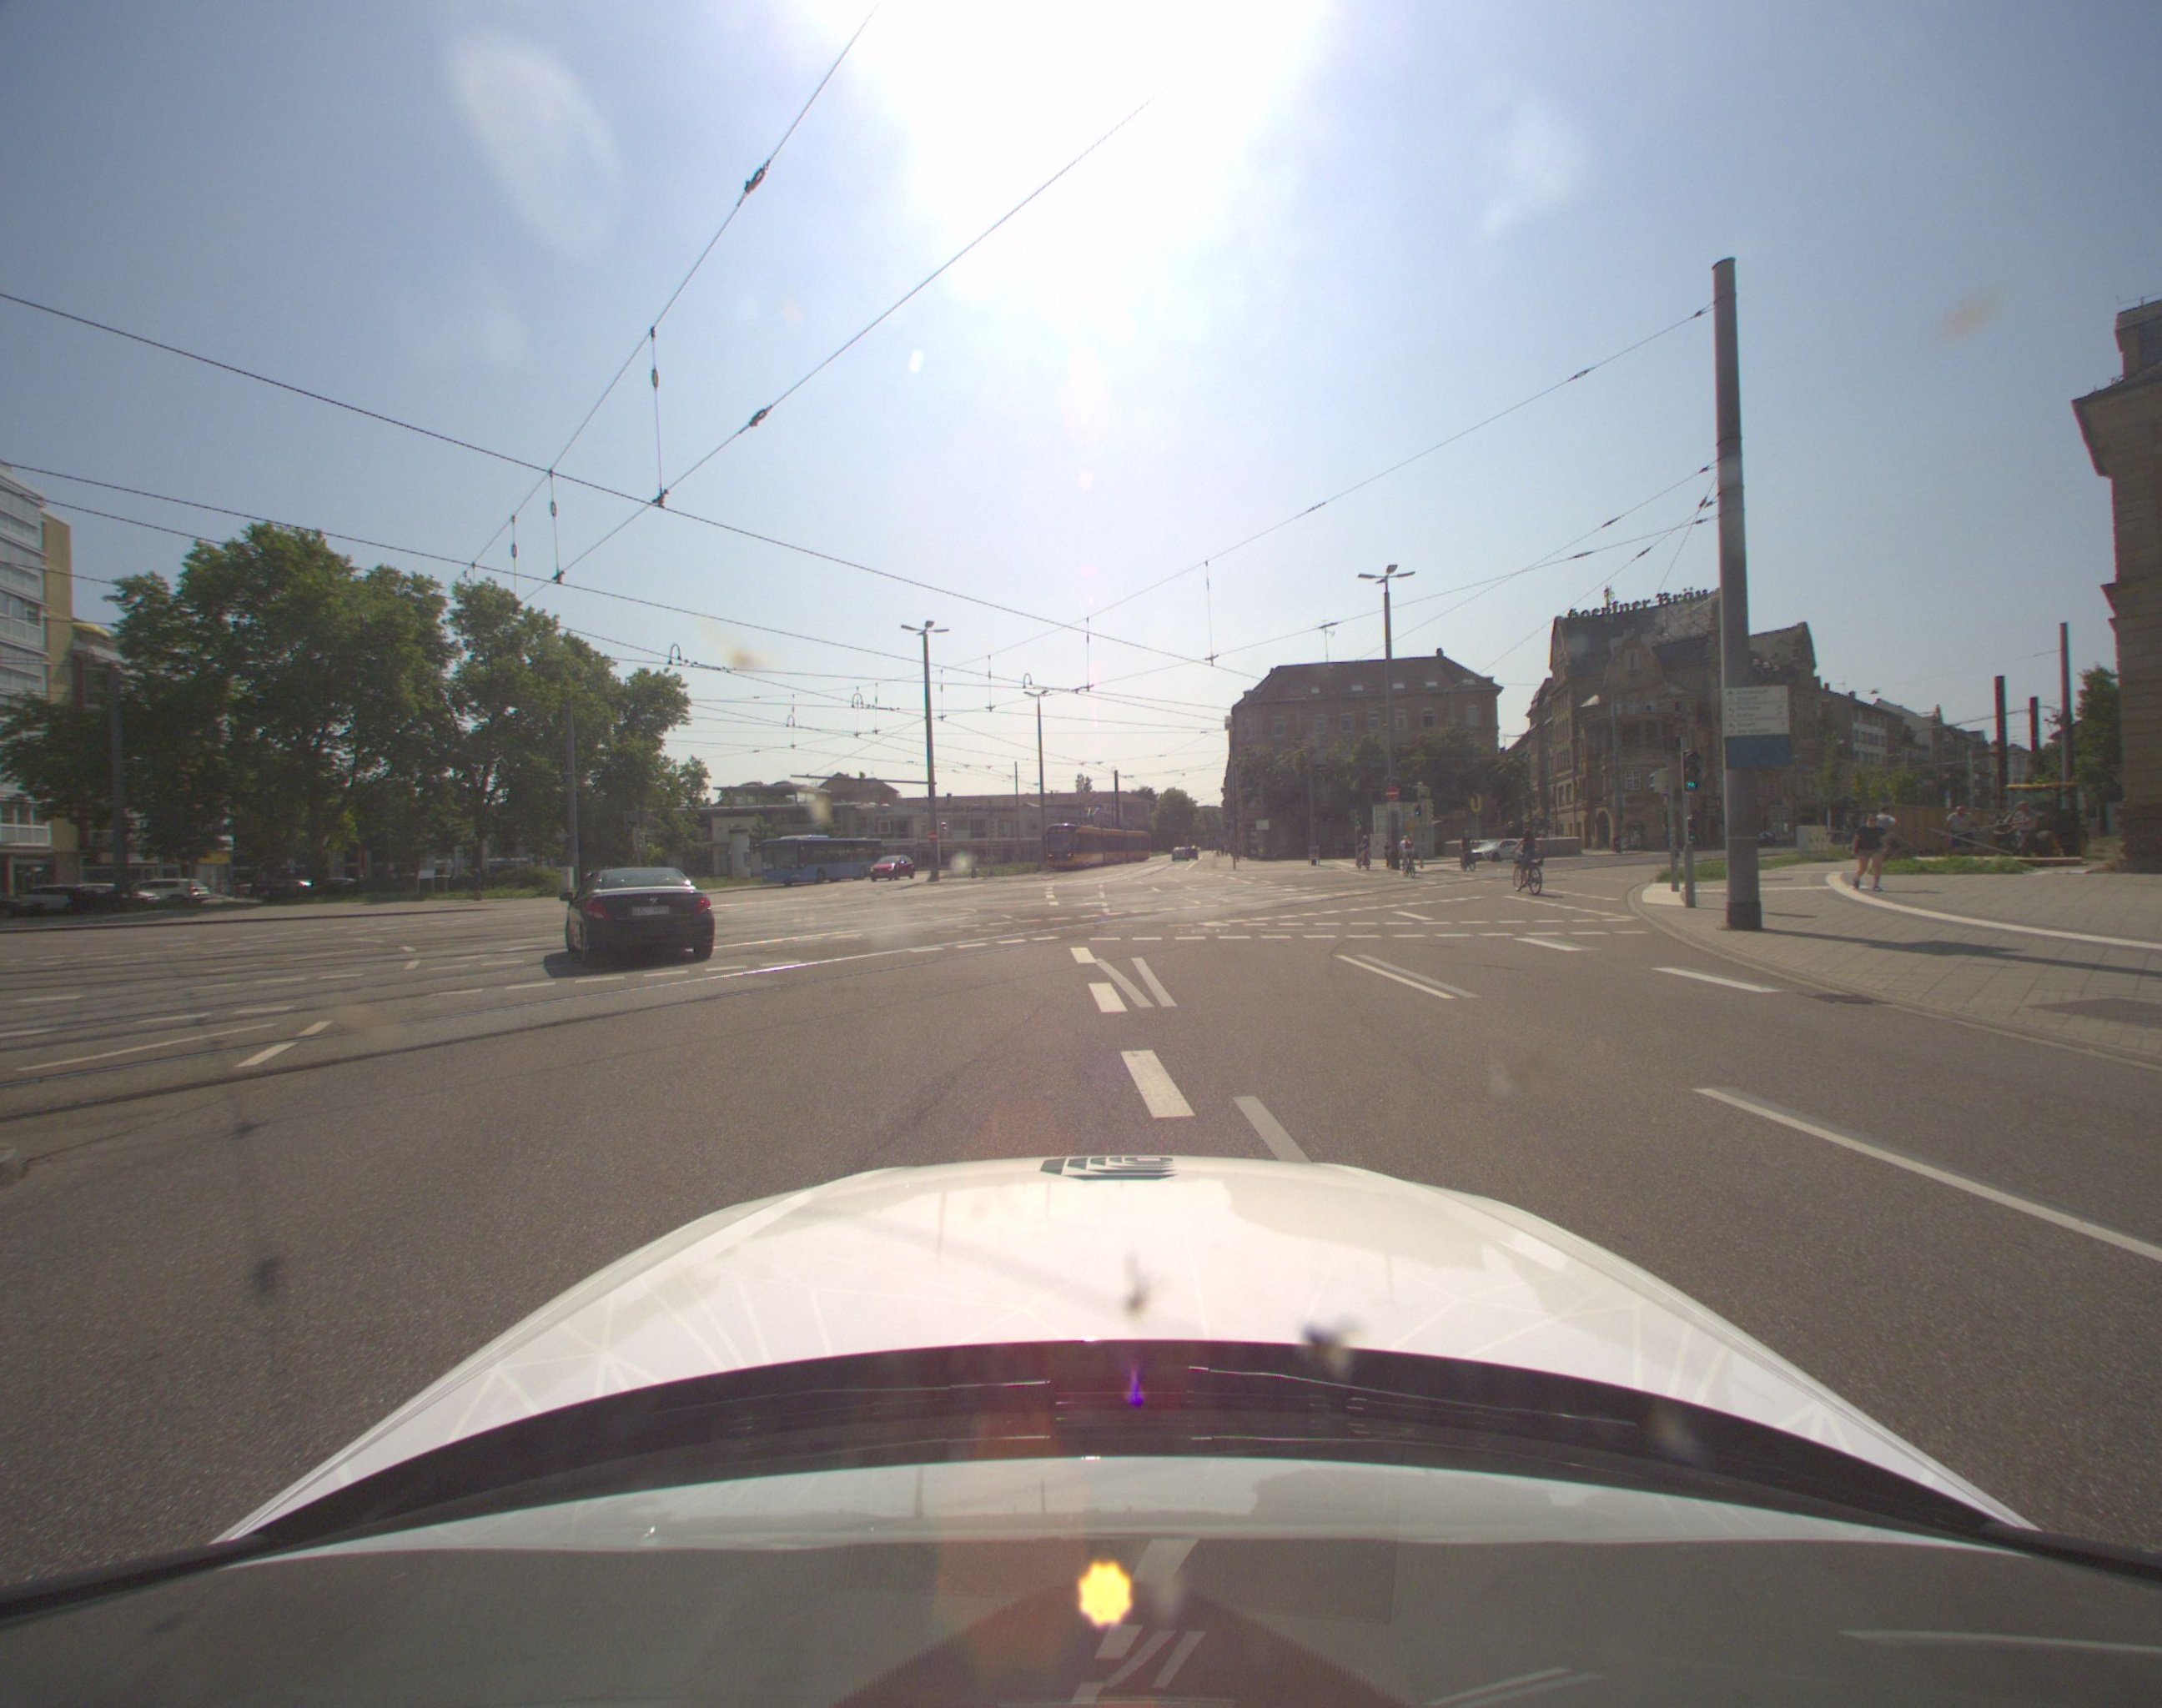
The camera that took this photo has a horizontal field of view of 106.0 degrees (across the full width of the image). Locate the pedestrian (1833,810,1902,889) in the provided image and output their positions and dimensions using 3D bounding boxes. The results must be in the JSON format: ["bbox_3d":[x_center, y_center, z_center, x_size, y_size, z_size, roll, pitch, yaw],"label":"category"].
[{"bbox_3d":[16.895,-0.093,17.528,0.783,1.609,0.956,-4,-1,30],"label":"pedestrian"}]

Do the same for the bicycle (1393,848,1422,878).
[{"bbox_3d":[12.482,0.331,31.149,0.438,1.111,1.643,-2,0,0],"label":"bicycle"}]

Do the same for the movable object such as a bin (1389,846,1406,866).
[{"bbox_3d":[18.090,0.122,46.566,0.811,1.085,1.043,-1,-1,19],"label":"movable object such as a bin"}]

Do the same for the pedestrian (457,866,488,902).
[{"bbox_3d":[-28.414,1.370,38.016,0.951,1.609,0.787,-3,1,-25],"label":"pedestrian"}]

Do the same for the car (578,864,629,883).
[{"bbox_3d":[-49.614,1.989,84.748,1.694,1.753,4.286,-2,0,28],"label":"car"}]

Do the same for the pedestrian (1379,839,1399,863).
[{"bbox_3d":[18.014,-0.158,47.671,0.718,1.351,0.812,-2,0,-15],"label":"pedestrian"}]

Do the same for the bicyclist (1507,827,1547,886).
[{"bbox_3d":[11.660,0.067,21.286,0.654,1.481,0.644,-2,0,0],"label":"bicyclist"}]

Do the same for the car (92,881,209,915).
[{"bbox_3d":[-54.200,2.552,47.543,4.081,1.666,1.776,-2,0,-25],"label":"car"}]

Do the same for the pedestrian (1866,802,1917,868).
[{"bbox_3d":[23.144,-0.536,23.271,0.676,1.813,1.045,-2,0,24],"label":"pedestrian"}]

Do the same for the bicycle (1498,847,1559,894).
[{"bbox_3d":[11.707,0.402,21.365,0.438,1.111,2.128,-2,2,0],"label":"bicycle"}]

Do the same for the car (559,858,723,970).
[{"bbox_3d":[-7.069,0.827,12.880,1.804,1.431,3.956,-2,0,-35],"label":"car"}]

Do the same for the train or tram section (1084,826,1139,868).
[{"bbox_3d":[3.035,-0.562,76.287,2.568,3.560,12.263,-1,-1,14],"label":"train or tram section"}]

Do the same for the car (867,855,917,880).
[{"bbox_3d":[-11.850,0.823,51.303,1.614,1.472,3.783,-2,0,10],"label":"car"}]

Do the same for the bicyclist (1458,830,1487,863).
[{"bbox_3d":[16.987,-0.316,35.352,0.798,1.423,0.930,0,-1,0],"label":"bicyclist"}]

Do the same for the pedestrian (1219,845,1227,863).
[{"bbox_3d":[16.744,0.010,96.096,0.836,2.014,0.810,0,-1,2],"label":"pedestrian"}]

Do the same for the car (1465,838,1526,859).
[{"bbox_3d":[26.371,-0.318,51.846,3.735,1.288,1.574,0,-1,-27],"label":"car"}]

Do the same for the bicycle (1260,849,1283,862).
[{"bbox_3d":[15.639,0.132,66.963,1.775,0.957,0.462,-2,0,4],"label":"bicycle"}]

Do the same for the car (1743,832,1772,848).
[{"bbox_3d":[64.337,-1.331,77.402,3.271,1.398,1.360,0,-1,-37],"label":"car"}]

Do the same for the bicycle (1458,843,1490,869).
[{"bbox_3d":[17.011,0.096,35.308,0.468,1.126,1.957,0,-1,0],"label":"bicycle"}]

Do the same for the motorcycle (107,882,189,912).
[{"bbox_3d":[-39.040,1.791,34.102,2.106,1.136,0.909,-2,0,-10],"label":"motorcycle"}]

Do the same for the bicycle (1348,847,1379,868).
[{"bbox_3d":[13.642,0.155,39.396,0.642,0.998,2.375,-2,0,0],"label":"bicycle"}]

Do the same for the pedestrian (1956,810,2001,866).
[{"bbox_3d":[27.510,-0.489,24.977,0.676,1.672,0.690,-2,0,24],"label":"pedestrian"}]

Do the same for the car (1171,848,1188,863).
[{"bbox_3d":[10.586,0.170,87.874,1.724,1.574,3.618,0,-1,6],"label":"car"}]

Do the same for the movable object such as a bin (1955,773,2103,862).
[{"bbox_3d":[30.276,-1.156,25.995,4.461,2.671,1.804,-2,0,-24],"label":"movable object such as a bin"}]

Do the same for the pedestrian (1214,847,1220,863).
[{"bbox_3d":[18.101,0.123,108.345,0.788,2.014,0.810,0,-1,2],"label":"pedestrian"}]

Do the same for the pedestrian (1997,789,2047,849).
[{"bbox_3d":[26.967,-0.996,23.355,0.676,1.672,0.690,-2,0,24],"label":"pedestrian"}]

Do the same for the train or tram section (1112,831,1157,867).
[{"bbox_3d":[5.915,-0.468,87.741,2.568,3.560,12.263,-1,-1,14],"label":"train or tram section"}]

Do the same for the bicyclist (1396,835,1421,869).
[{"bbox_3d":[12.484,-0.071,31.051,0.654,1.254,0.644,-2,0,0],"label":"bicyclist"}]

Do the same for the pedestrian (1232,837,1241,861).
[{"bbox_3d":[13.498,-0.444,70.572,0.645,2.013,0.705,-2,0,6],"label":"pedestrian"}]

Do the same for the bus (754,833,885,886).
[{"bbox_3d":[-16.904,0.283,53.997,2.708,3.064,12.118,-2,0,11],"label":"bus"}]

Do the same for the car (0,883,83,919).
[{"bbox_3d":[-48.623,2.175,36.631,4.254,1.470,1.890,-2,0,-25],"label":"car"}]

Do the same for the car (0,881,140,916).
[{"bbox_3d":[-51.033,2.211,41.041,4.254,1.470,1.890,-2,0,-25],"label":"car"}]

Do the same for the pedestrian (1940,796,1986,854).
[{"bbox_3d":[26.326,-0.846,24.309,0.676,1.672,0.690,-2,0,24],"label":"pedestrian"}]

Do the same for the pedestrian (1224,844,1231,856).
[{"bbox_3d":[21.262,-0.565,117.945,0.836,1.671,0.810,0,0,2],"label":"pedestrian"}]

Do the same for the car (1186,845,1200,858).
[{"bbox_3d":[13.299,-0.320,96.981,1.501,1.511,3.631,-2,0,7],"label":"car"}]

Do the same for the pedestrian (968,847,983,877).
[{"bbox_3d":[-6.185,0.465,47.591,0.801,1.687,0.717,-2,0,-8],"label":"pedestrian"}]

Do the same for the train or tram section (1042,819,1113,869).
[{"bbox_3d":[-0.057,-0.663,63.941,2.568,3.560,12.263,-1,-1,14],"label":"train or tram section"}]

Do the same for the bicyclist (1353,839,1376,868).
[{"bbox_3d":[13.615,-0.019,39.091,0.744,1.320,0.921,-2,0,0],"label":"bicyclist"}]

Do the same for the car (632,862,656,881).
[{"bbox_3d":[-49.692,1.979,92.649,2.340,2.014,6.746,0,-1,-28],"label":"car"}]
